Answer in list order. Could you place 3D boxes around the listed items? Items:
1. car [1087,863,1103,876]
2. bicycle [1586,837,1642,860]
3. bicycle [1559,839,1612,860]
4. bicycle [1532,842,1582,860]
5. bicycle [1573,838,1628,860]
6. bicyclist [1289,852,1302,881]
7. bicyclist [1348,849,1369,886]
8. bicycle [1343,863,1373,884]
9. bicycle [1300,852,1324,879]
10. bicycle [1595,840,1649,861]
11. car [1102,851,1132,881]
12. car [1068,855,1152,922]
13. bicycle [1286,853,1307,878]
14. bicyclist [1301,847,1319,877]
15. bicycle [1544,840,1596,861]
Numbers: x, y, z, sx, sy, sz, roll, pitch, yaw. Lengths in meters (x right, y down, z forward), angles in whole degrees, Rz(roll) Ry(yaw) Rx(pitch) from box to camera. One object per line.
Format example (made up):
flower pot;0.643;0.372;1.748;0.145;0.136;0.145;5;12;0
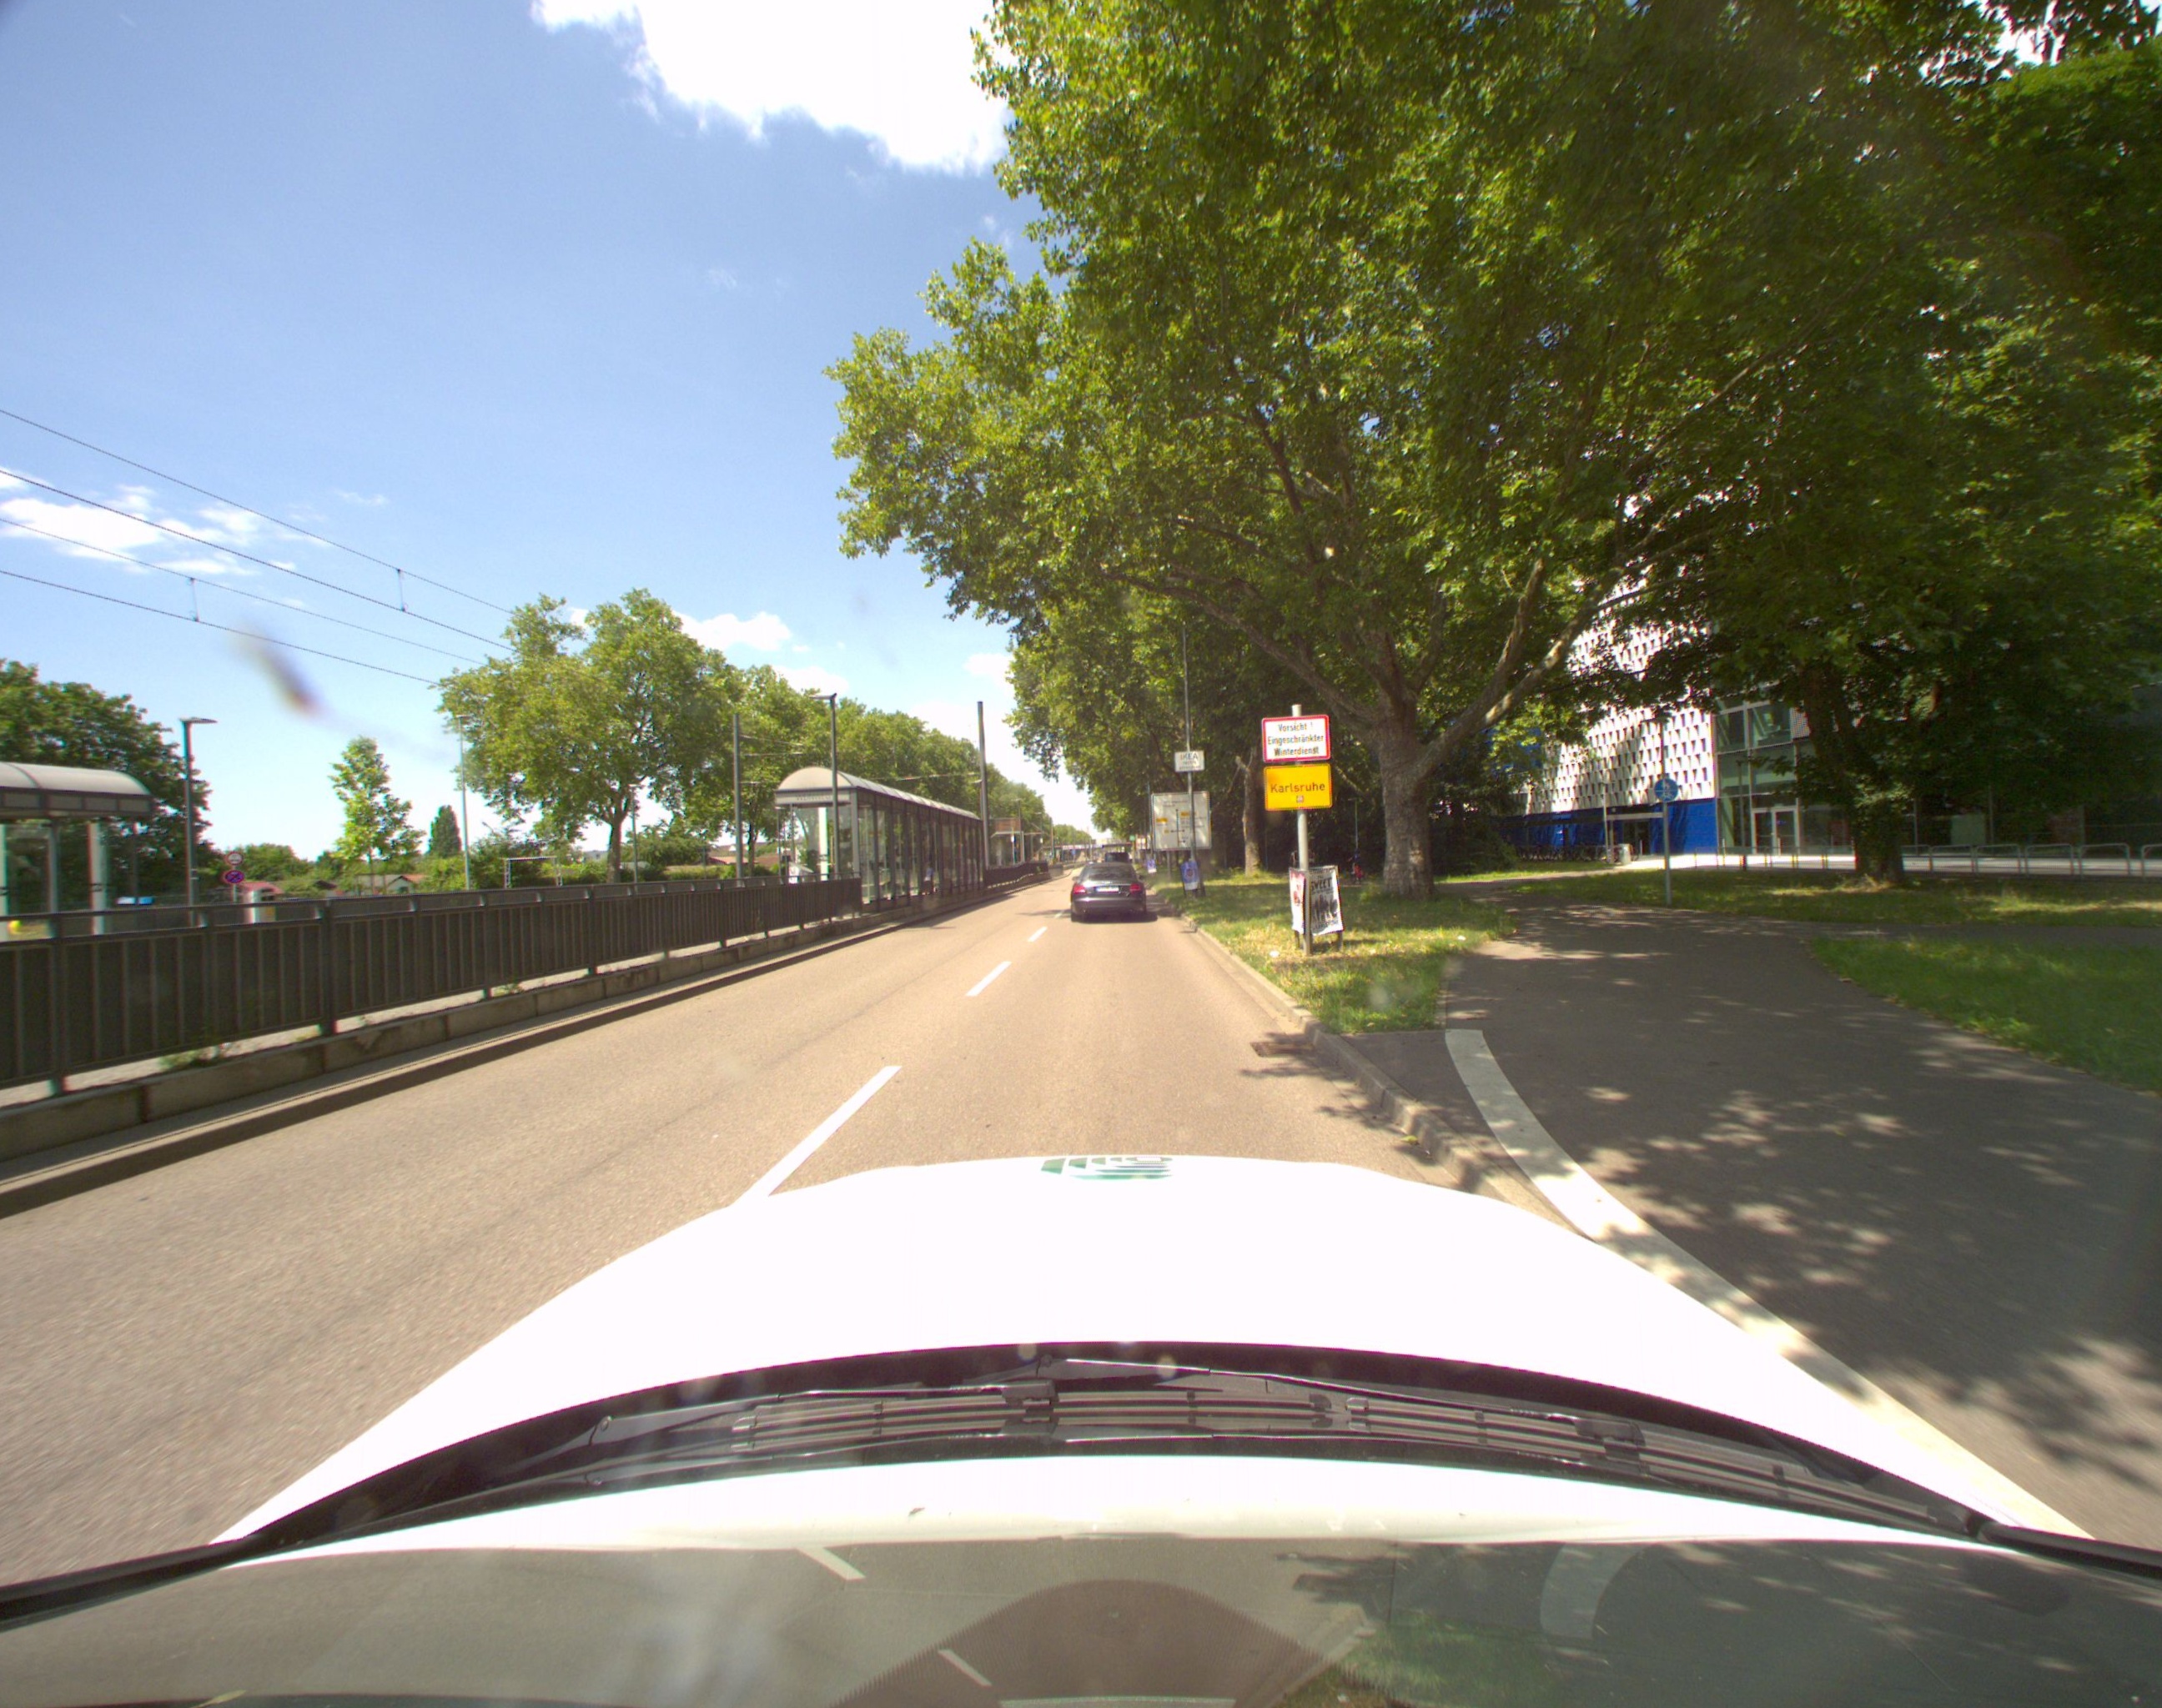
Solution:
car;1.637;1.803;95.935;1.839;1.464;4.000;-2;-1;1
bicycle;28.334;-0.297;43.304;2.539;1.110;0.758;-2;0;-2
bicycle;28.249;-0.251;45.603;2.539;1.110;0.758;-2;0;-2
bicycle;28.135;-0.200;48.150;2.539;0.970;0.758;-2;0;-2
bicycle;28.278;-0.276;44.373;2.539;1.110;0.758;-2;0;-2
bicyclist;13.224;0.783;50.169;0.595;1.746;0.844;-2;-1;2
bicyclist;12.391;0.599;36.365;0.621;1.610;0.816;-2;-1;0
bicycle;12.390;0.865;36.487;0.643;0.887;2.023;-2;-1;1
bicycle;12.868;0.617;45.399;0.608;1.420;2.663;-3;-1;2
bicycle;27.983;-0.179;42.148;2.310;0.960;0.758;-2;0;-2
car;2.555;0.827;56.897;1.840;1.959;4.149;-1;-1;5
car;0.645;0.797;20.612;1.837;1.484;3.997;-2;0;-2
bicycle;13.230;0.701;50.004;0.608;1.420;2.663;-3;-1;2
bicyclist;12.805;0.443;45.543;0.655;1.599;1.054;-2;-1;3
bicycle;28.132;-0.225;46.879;2.539;1.110;0.758;-2;0;-2
